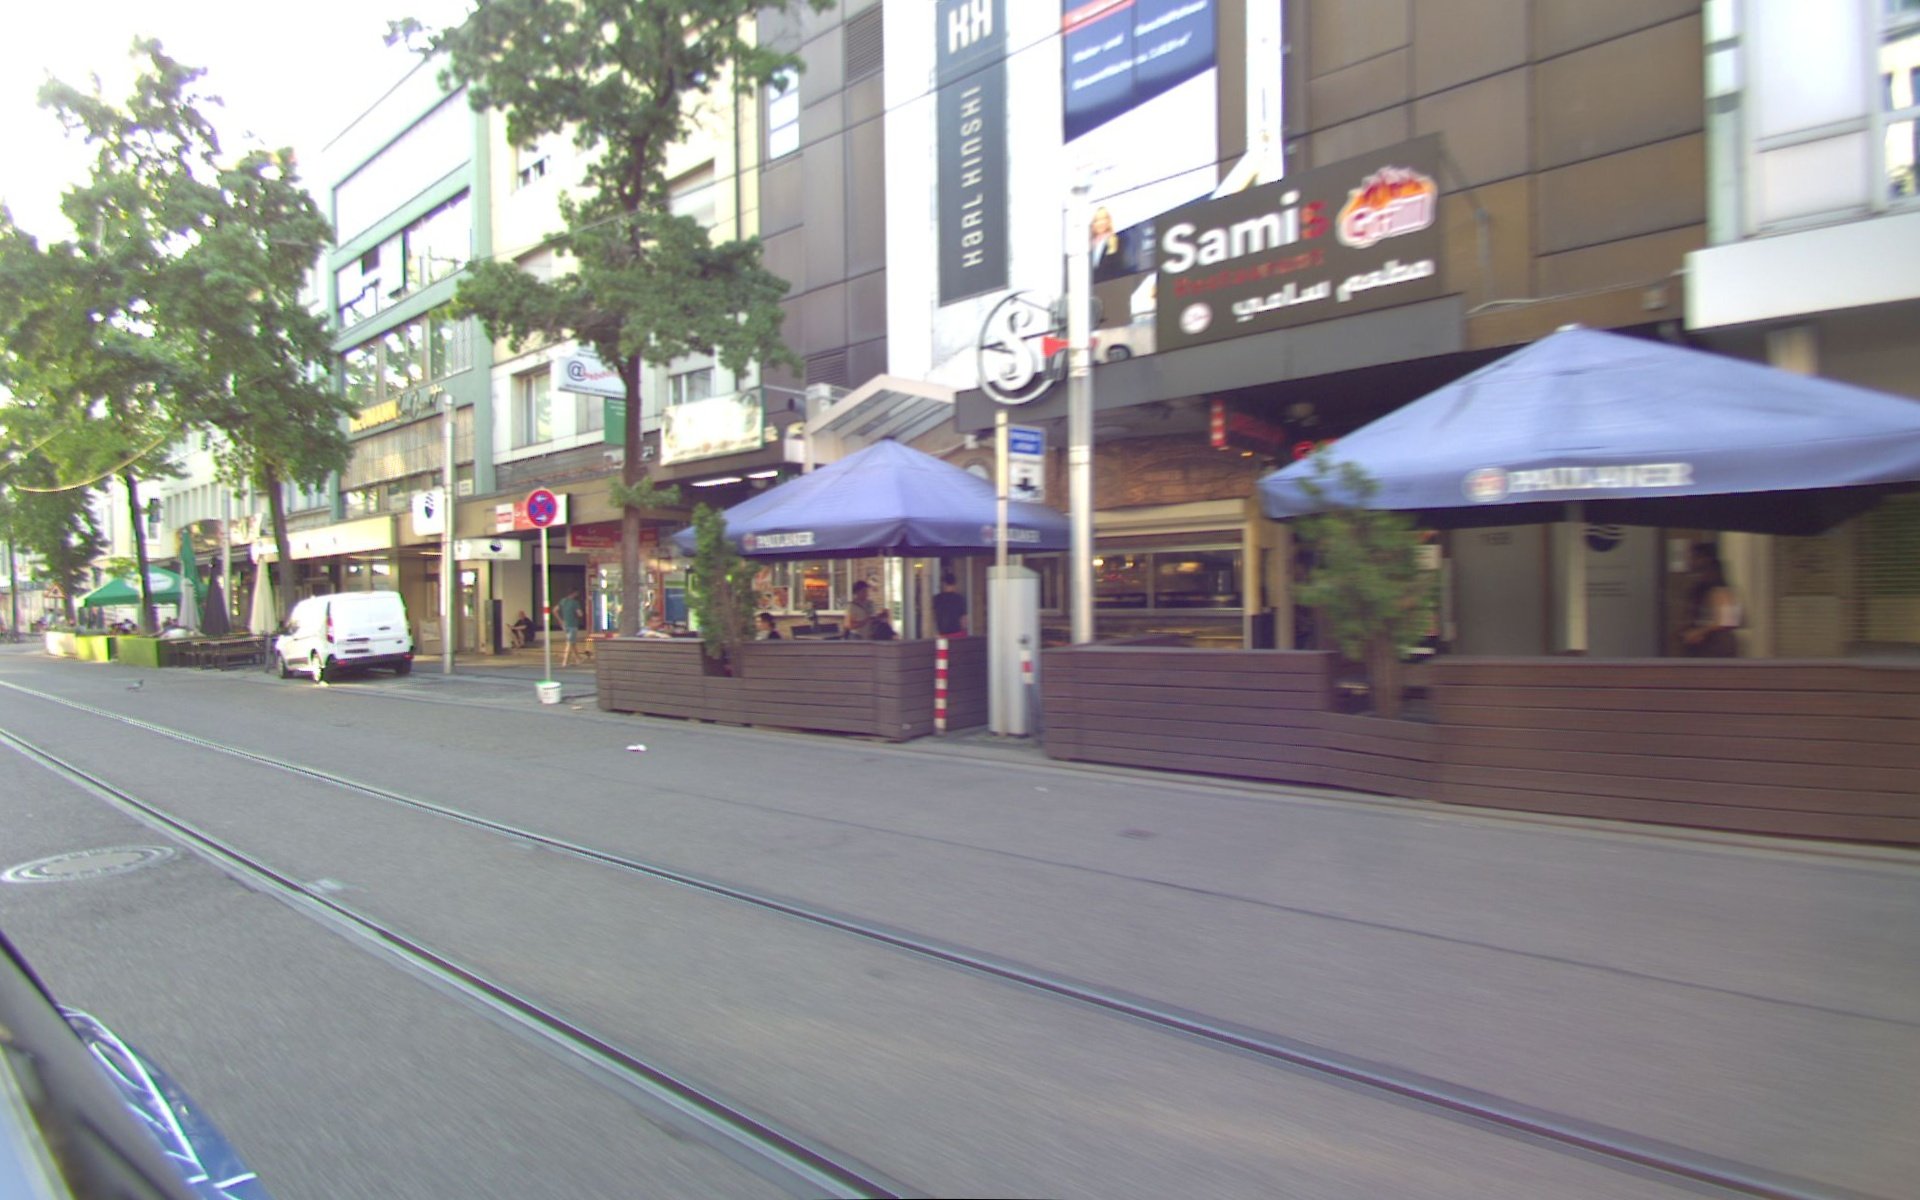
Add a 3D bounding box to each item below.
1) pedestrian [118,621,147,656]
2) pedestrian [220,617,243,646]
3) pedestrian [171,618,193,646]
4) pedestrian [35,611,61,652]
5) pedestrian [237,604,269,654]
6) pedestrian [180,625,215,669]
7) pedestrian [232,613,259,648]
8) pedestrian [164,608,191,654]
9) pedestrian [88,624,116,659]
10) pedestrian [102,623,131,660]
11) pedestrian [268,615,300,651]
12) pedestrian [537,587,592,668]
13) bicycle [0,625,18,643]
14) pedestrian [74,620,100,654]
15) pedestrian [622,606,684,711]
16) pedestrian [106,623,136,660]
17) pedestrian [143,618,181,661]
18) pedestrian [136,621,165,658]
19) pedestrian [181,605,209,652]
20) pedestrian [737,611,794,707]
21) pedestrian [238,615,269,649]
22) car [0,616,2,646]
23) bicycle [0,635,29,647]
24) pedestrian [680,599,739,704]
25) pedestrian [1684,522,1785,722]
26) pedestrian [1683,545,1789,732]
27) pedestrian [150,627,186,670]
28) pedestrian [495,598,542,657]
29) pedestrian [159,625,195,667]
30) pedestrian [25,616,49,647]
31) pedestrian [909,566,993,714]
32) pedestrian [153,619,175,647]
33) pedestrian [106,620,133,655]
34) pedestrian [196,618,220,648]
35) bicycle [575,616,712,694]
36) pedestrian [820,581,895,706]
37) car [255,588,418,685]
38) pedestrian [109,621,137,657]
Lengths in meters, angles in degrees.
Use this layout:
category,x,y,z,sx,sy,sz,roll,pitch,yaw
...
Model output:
category,x,y,z,sx,sy,sz,roll,pitch,yaw
pedestrian,-31.661,1.467,38.728,0.869,1.269,0.700,-1,1,43
pedestrian,-30.259,1.319,42.014,0.686,1.167,0.595,-1,1,41
pedestrian,-36.338,1.496,47.257,0.738,1.279,0.638,-1,1,41
pedestrian,-41.439,1.416,45.968,0.686,1.805,0.749,-1,1,41
pedestrian,-23.435,0.954,33.541,0.700,1.586,0.641,-1,2,40
pedestrian,-23.975,1.459,31.812,0.797,1.302,0.650,-1,2,40
pedestrian,-27.771,1.180,39.334,0.696,1.319,0.613,-1,2,40
pedestrian,-29.143,1.143,37.683,0.696,1.683,0.612,-1,1,40
pedestrian,-32.314,1.551,38.112,0.772,1.269,0.700,-1,1,43
pedestrian,-30.112,1.463,36.144,0.696,1.254,0.613,-1,2,40
pedestrian,-23.909,1.160,35.784,0.787,1.176,0.693,-1,2,40
pedestrian,-8.628,0.597,22.091,1.004,1.698,0.660,-1,1,40
bicycle,-64.863,2.314,68.660,2.038,1.130,0.753,-2,2,30
pedestrian,-37.205,1.577,43.111,0.806,1.397,0.682,-1,1,41
pedestrian,-4.175,0.783,13.754,0.582,1.366,0.544,-1,0,40
pedestrian,-29.283,1.442,35.324,0.696,1.254,0.613,-1,2,40
pedestrian,-26.464,1.292,33.550,0.872,1.353,0.747,-1,2,40
pedestrian,-28.825,1.406,36.057,0.696,1.254,0.613,-1,2,40
pedestrian,-29.318,1.083,38.771,0.697,1.770,0.671,-1,1,42
pedestrian,-2.592,0.774,13.519,0.535,1.237,0.490,-1,0,40
pedestrian,-27.025,1.217,38.694,0.787,1.241,0.729,-1,2,40
car,-60.989,1.932,62.847,4.558,1.846,1.838,-1,1,42
bicycle,-54.258,2.333,57.575,1.282,0.613,1.776,-1,1,44
pedestrian,-3.566,0.711,14.400,0.582,1.440,0.544,-1,0,40
pedestrian,7.111,0.188,9.295,0.671,1.758,0.591,-1,1,41
pedestrian,6.754,0.316,8.810,0.671,1.544,0.591,-1,1,41
pedestrian,-24.527,1.494,31.343,0.872,1.253,0.650,-1,2,40
pedestrian,-11.507,0.714,26.379,0.764,1.477,0.762,-1,2,38
pedestrian,-23.920,1.397,30.915,0.797,1.202,0.650,-1,2,40
pedestrian,-55.147,1.883,60.460,0.884,1.795,0.857,-1,2,40
pedestrian,-0.107,0.466,12.341,0.675,1.737,0.710,-1,0,39
pedestrian,-36.818,1.522,46.808,0.727,1.291,0.620,-1,1,41
pedestrian,-33.353,1.488,40.166,0.806,1.321,0.682,-1,1,41
pedestrian,-30.787,1.349,41.439,0.686,1.182,0.595,-1,1,41
bicycle,-5.014,0.876,16.019,2.073,1.129,0.694,-2,2,23
pedestrian,-1.380,0.563,13.641,0.719,1.619,0.666,-1,0,40
car,-13.961,0.774,22.555,4.552,1.878,1.777,-1,2,42
pedestrian,-32.711,1.499,39.569,0.781,1.357,0.700,-1,1,43
